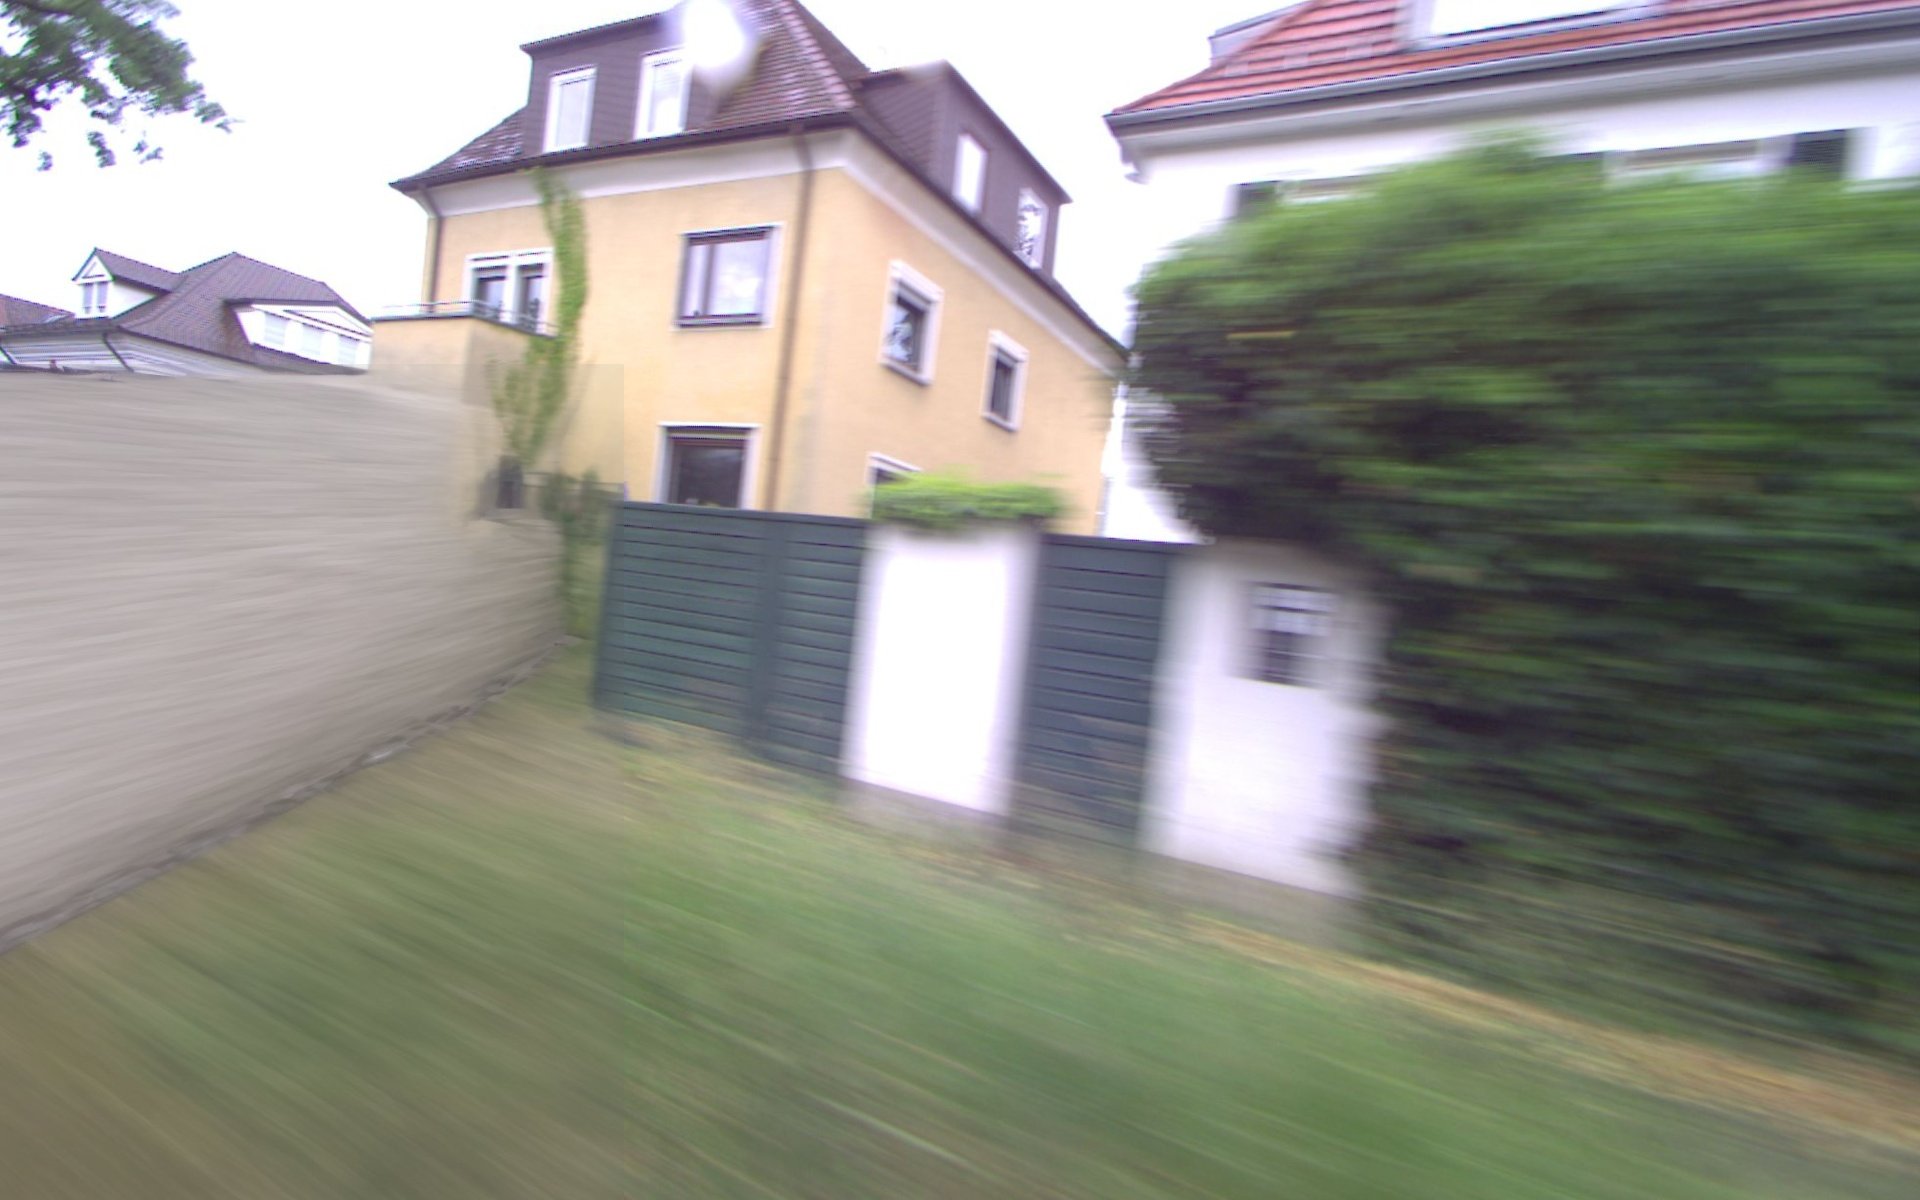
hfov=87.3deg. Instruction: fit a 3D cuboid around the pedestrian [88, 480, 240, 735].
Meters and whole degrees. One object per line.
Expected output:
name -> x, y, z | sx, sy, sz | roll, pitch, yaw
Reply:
pedestrian -> -5.111, 0.053, 6.468 | 0.432, 1.552, 0.483 | 7, -1, 27
